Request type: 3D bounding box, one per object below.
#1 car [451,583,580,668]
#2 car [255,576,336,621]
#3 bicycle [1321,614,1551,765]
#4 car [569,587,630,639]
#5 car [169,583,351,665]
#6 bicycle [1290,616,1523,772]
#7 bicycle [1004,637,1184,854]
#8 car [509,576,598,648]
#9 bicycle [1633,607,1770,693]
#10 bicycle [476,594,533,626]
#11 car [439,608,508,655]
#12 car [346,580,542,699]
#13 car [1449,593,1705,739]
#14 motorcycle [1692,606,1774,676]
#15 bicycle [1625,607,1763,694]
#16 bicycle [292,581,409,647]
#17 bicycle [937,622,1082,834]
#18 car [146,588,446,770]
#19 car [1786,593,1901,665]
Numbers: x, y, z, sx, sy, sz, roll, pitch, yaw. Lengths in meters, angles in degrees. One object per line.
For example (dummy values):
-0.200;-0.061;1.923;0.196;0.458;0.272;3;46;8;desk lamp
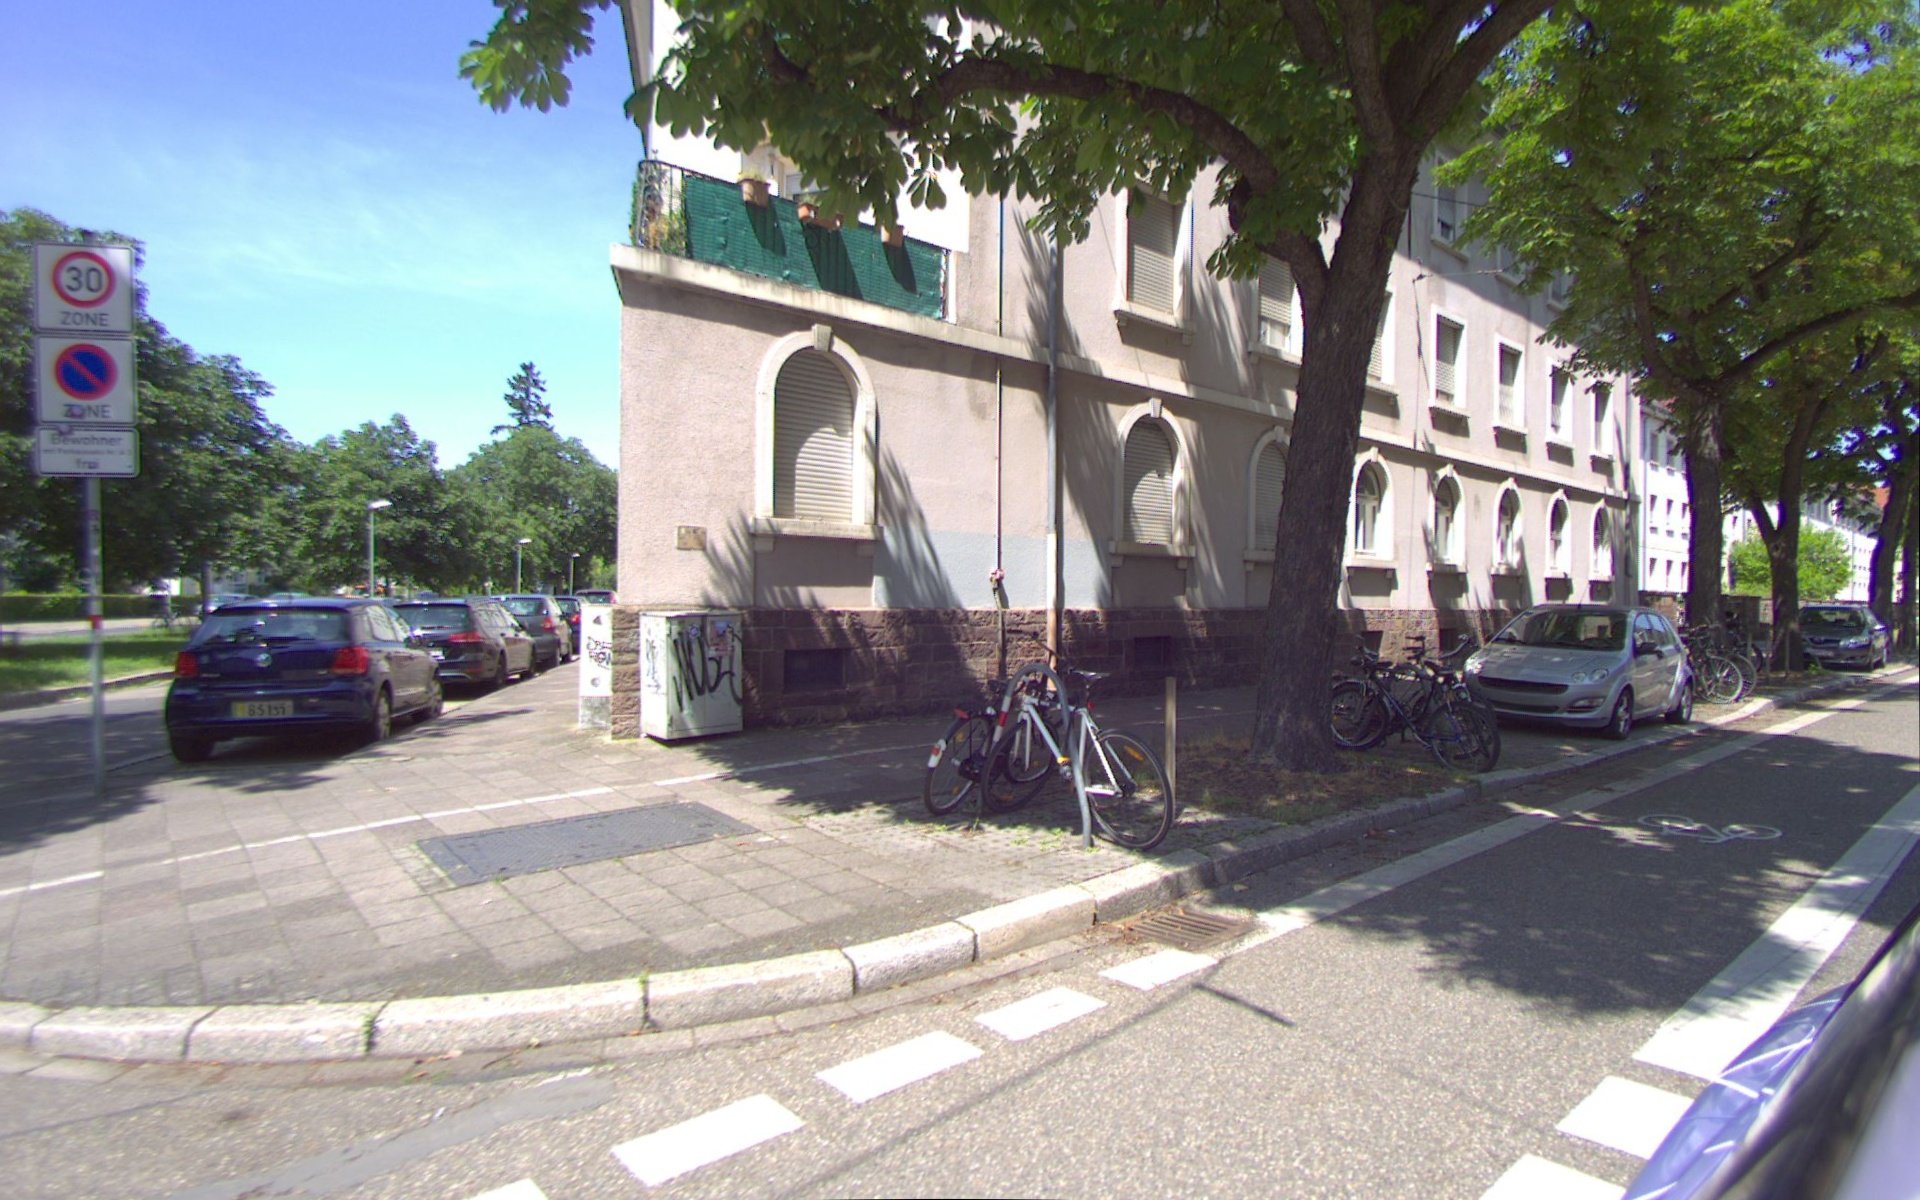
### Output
-9.270;0.462;21.419;1.830;1.599;4.008;-1;0;-14;car
-31.770;-0.081;48.521;1.958;2.039;4.008;-1;0;-13;car
4.350;0.762;9.429;0.436;1.215;2.042;-1;0;-30;bicycle
-12.429;0.412;35.089;1.796;1.679;4.008;-1;0;-17;car
-15.227;0.461;22.285;1.958;1.602;4.008;-1;0;-13;car
3.943;0.770;9.139;0.436;1.215;2.042;-1;0;-30;bicycle
0.734;0.776;5.808;0.274;1.077;1.170;-1;1;-37;bicycle
-10.673;0.270;26.827;1.618;1.751;4.008;-1;0;-14;car
11.056;0.717;15.139;0.299;1.215;1.622;0;0;-39;bicycle
-20.737;0.432;46.191;1.542;1.411;3.750;0;0;-10;bicycle
-19.510;1.228;40.704;1.728;1.702;3.905;-1;0;-14;car
-7.831;0.510;15.756;1.783;1.521;4.008;-3;1;-14;car
7.516;0.689;12.210;3.568;1.470;1.595;1;1;-41;car
14.443;0.730;18.885;2.178;1.212;0.623;-1;0;-36;motorcycle
10.788;0.714;14.918;0.299;1.215;1.622;0;0;-39;bicycle
-16.672;0.349;27.891;1.800;1.666;4.008;-1;0;-16;bicycle
0.379;0.784;6.833;0.281;1.215;1.612;-1;0;29;bicycle
-6.516;0.620;10.405;1.611;1.465;3.892;-1;1;-18;car
21.017;0.622;24.033;3.930;1.564;1.538;0;0;-41;car
